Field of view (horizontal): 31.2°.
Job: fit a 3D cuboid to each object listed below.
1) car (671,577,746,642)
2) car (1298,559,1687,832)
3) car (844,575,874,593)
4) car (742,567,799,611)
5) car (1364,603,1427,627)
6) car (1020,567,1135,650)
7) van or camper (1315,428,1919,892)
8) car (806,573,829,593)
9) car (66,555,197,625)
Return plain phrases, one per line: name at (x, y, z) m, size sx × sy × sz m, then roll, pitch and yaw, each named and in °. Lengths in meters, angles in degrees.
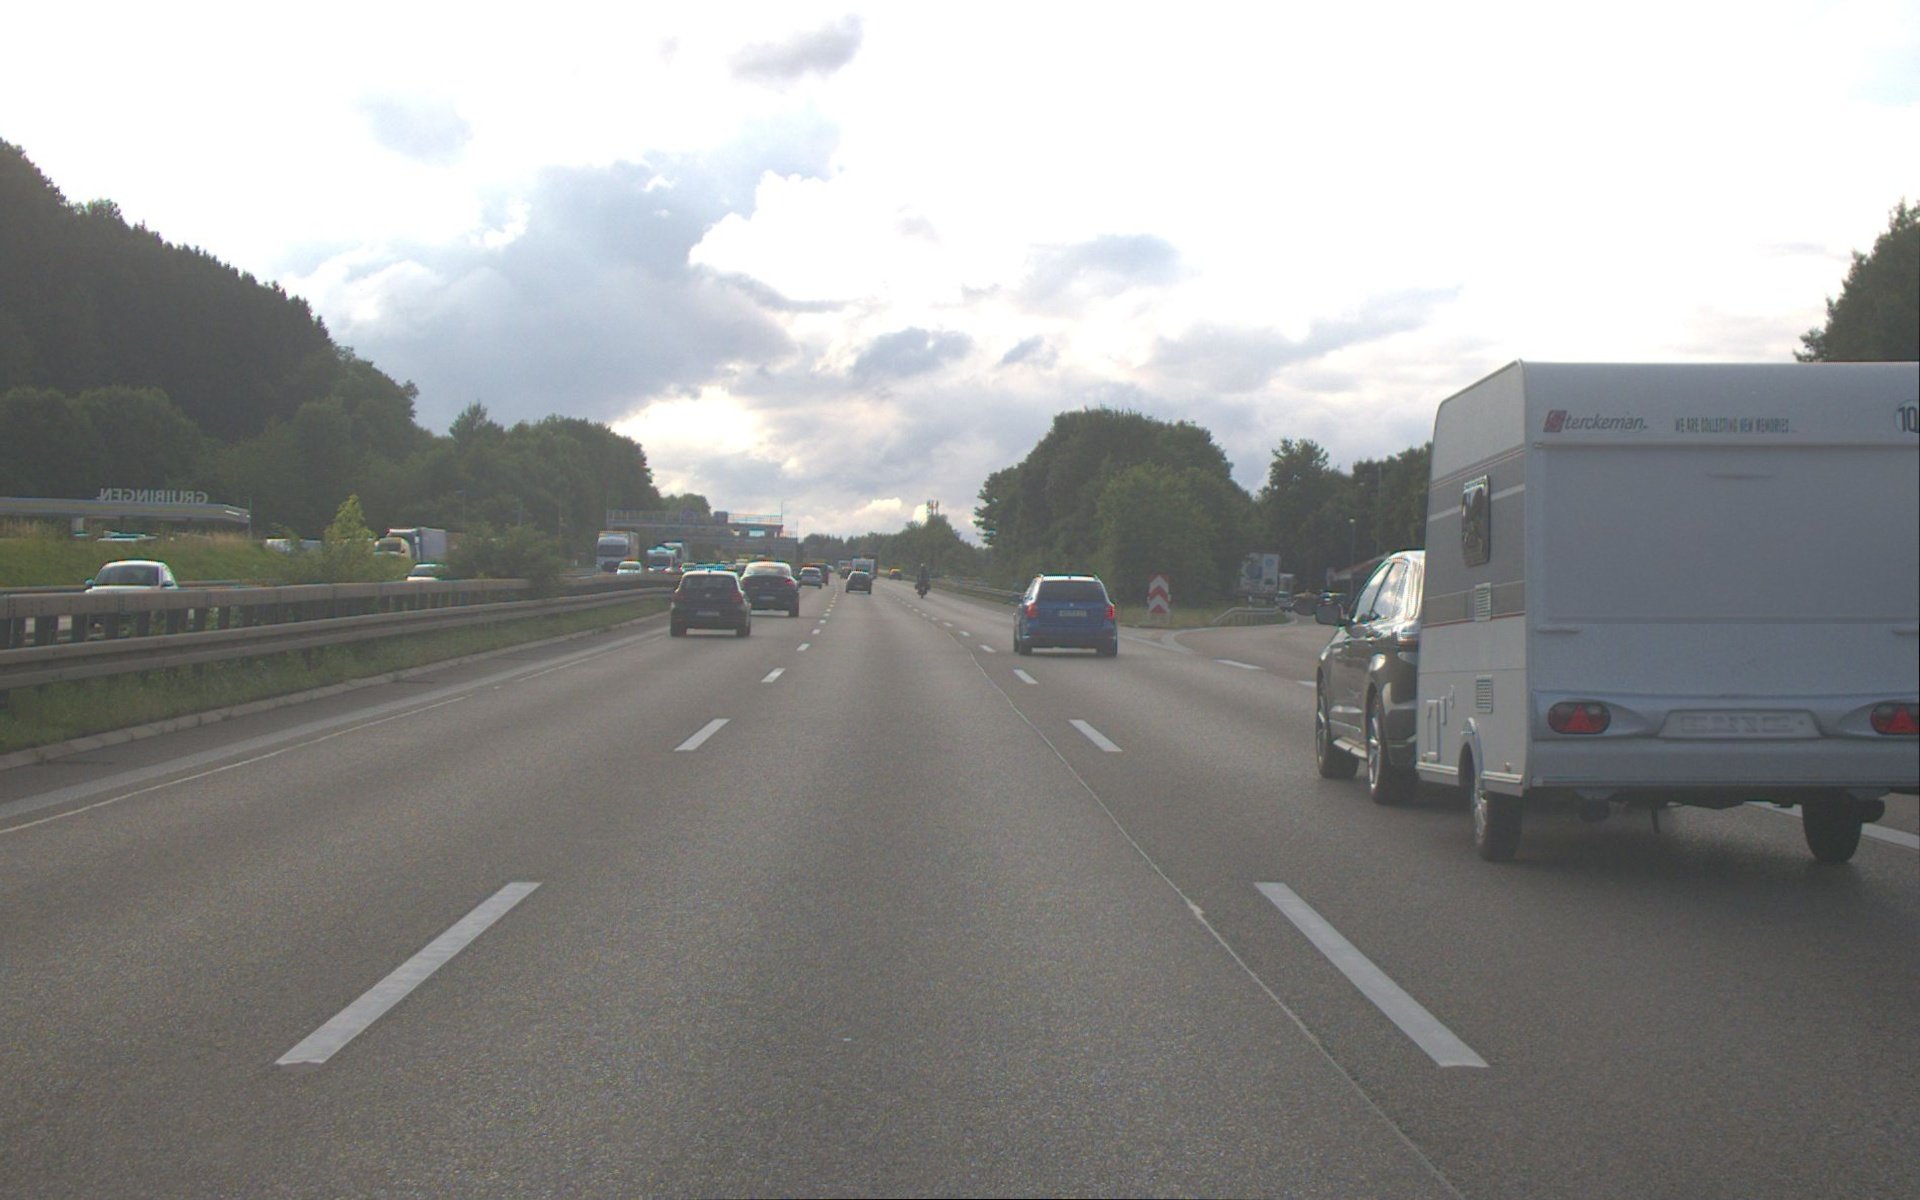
car at (-5.551, 0.194, 76.191) m, size 1.538 × 1.343 × 3.677 m, roll 1°, pitch 0°, yaw -3°
car at (3.474, 0.562, 23.249) m, size 1.786 × 1.647 × 4.482 m, roll 1°, pitch 1°, yaw -2°
car at (-6.916, -1.114, 234.817) m, size 1.750 × 1.218 × 4.001 m, roll 0°, pitch 0°, yaw -6°
car at (-6.054, -0.361, 110.106) m, size 1.565 × 1.376 × 4.000 m, roll 0°, pitch 0°, yaw 1°
car at (30.304, 1.061, 239.260) m, size 4.297 × 1.550 × 1.989 m, roll 2°, pitch -1°, yaw -42°
car at (2.090, 0.151, 62.044) m, size 1.766 × 1.428 × 4.000 m, roll -1°, pitch 0°, yaw -2°
van or camper at (3.575, 0.293, 19.592) m, size 2.548 × 2.232 × 5.329 m, roll 1°, pitch 0°, yaw 0°
car at (-10.636, -1.249, 256.183) m, size 1.582 × 1.366 × 3.258 m, roll 1°, pitch -1°, yaw -1°
car at (-17.668, -0.232, 73.452) m, size 1.951 × 1.443 × 3.873 m, roll 0°, pitch 0°, yaw -2°
